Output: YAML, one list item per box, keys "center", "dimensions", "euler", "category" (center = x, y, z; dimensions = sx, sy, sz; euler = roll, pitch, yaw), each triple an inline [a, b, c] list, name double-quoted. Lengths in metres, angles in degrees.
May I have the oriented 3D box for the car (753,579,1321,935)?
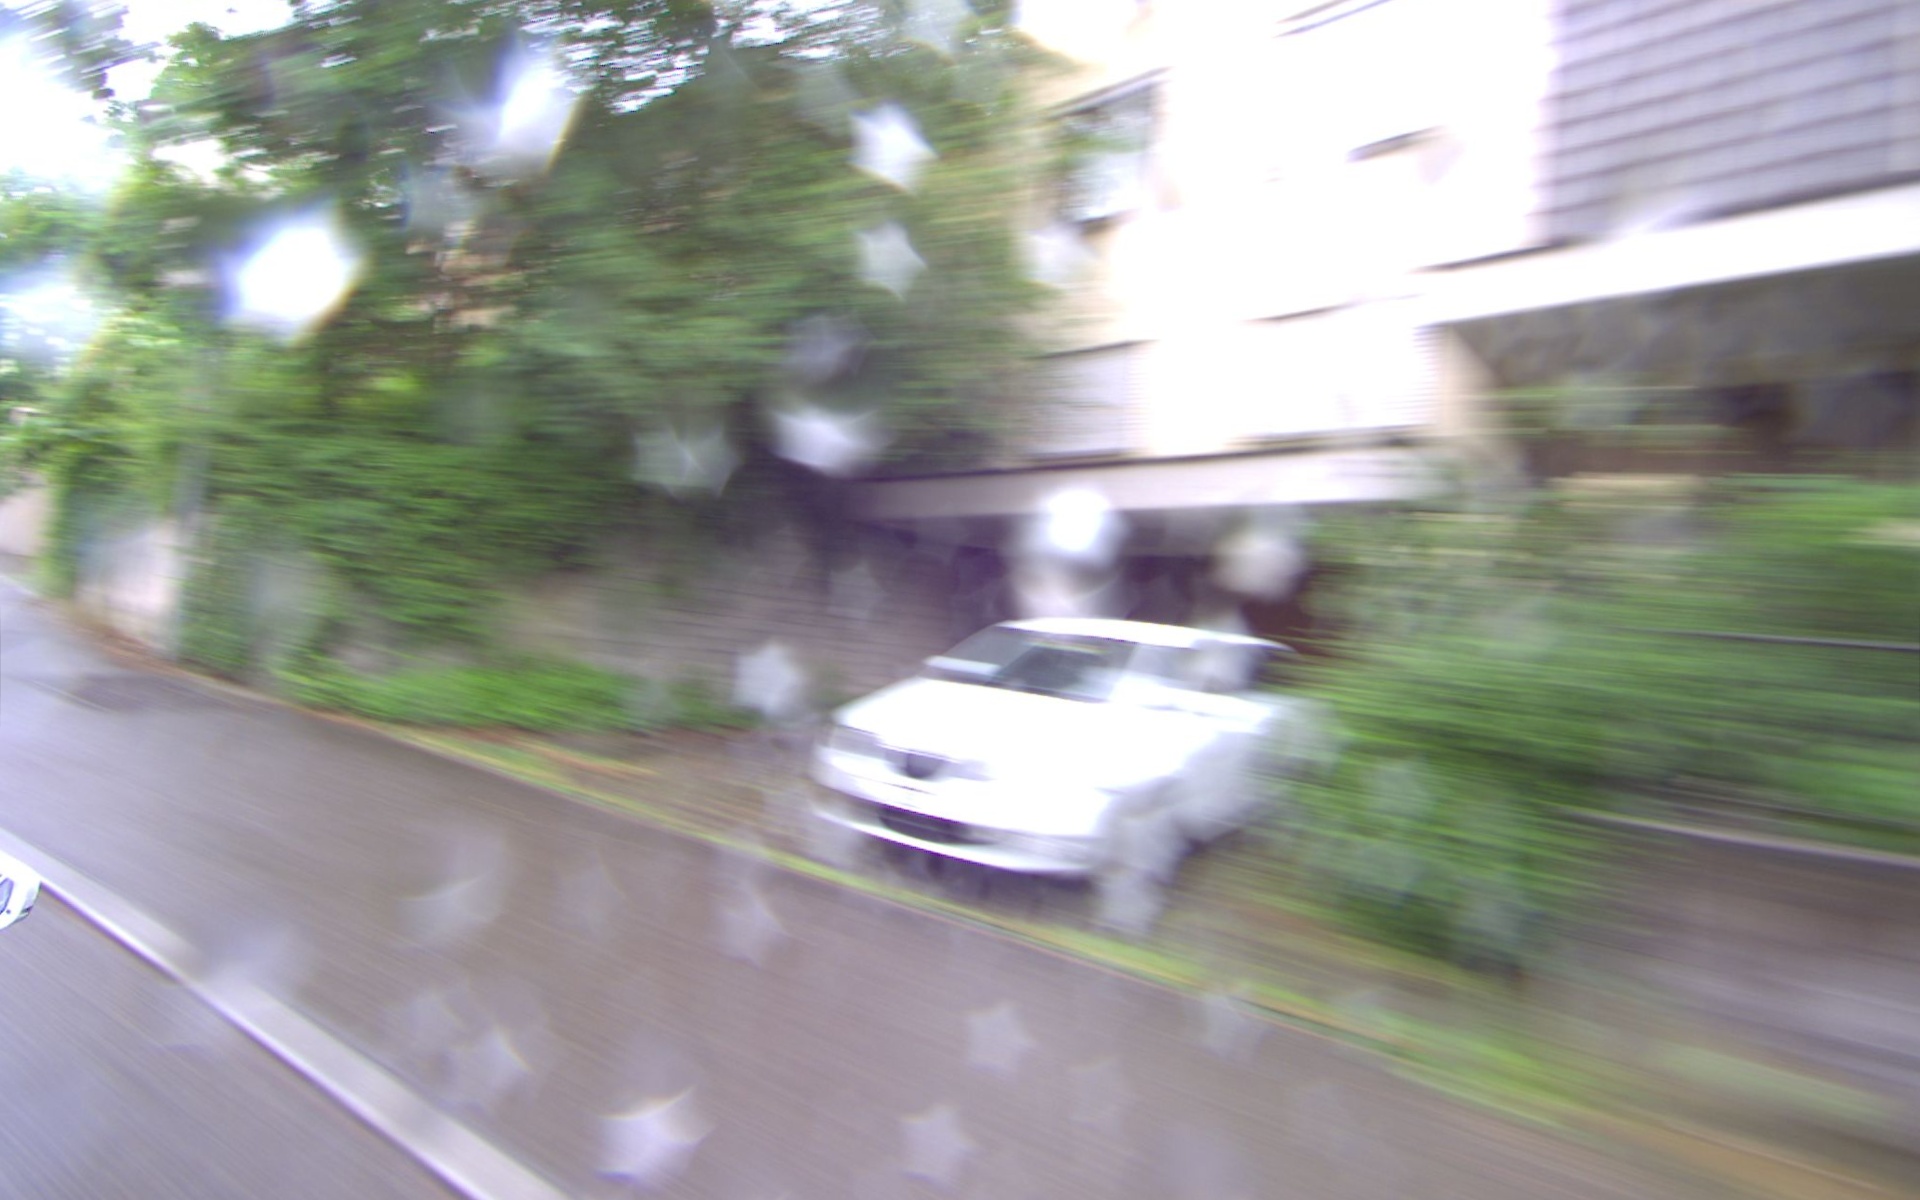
- center: [0.839, 0.835, 6.831]
  dimensions: [1.875, 1.495, 4.143]
  euler: [7, 0, 35]
  category: "car"
